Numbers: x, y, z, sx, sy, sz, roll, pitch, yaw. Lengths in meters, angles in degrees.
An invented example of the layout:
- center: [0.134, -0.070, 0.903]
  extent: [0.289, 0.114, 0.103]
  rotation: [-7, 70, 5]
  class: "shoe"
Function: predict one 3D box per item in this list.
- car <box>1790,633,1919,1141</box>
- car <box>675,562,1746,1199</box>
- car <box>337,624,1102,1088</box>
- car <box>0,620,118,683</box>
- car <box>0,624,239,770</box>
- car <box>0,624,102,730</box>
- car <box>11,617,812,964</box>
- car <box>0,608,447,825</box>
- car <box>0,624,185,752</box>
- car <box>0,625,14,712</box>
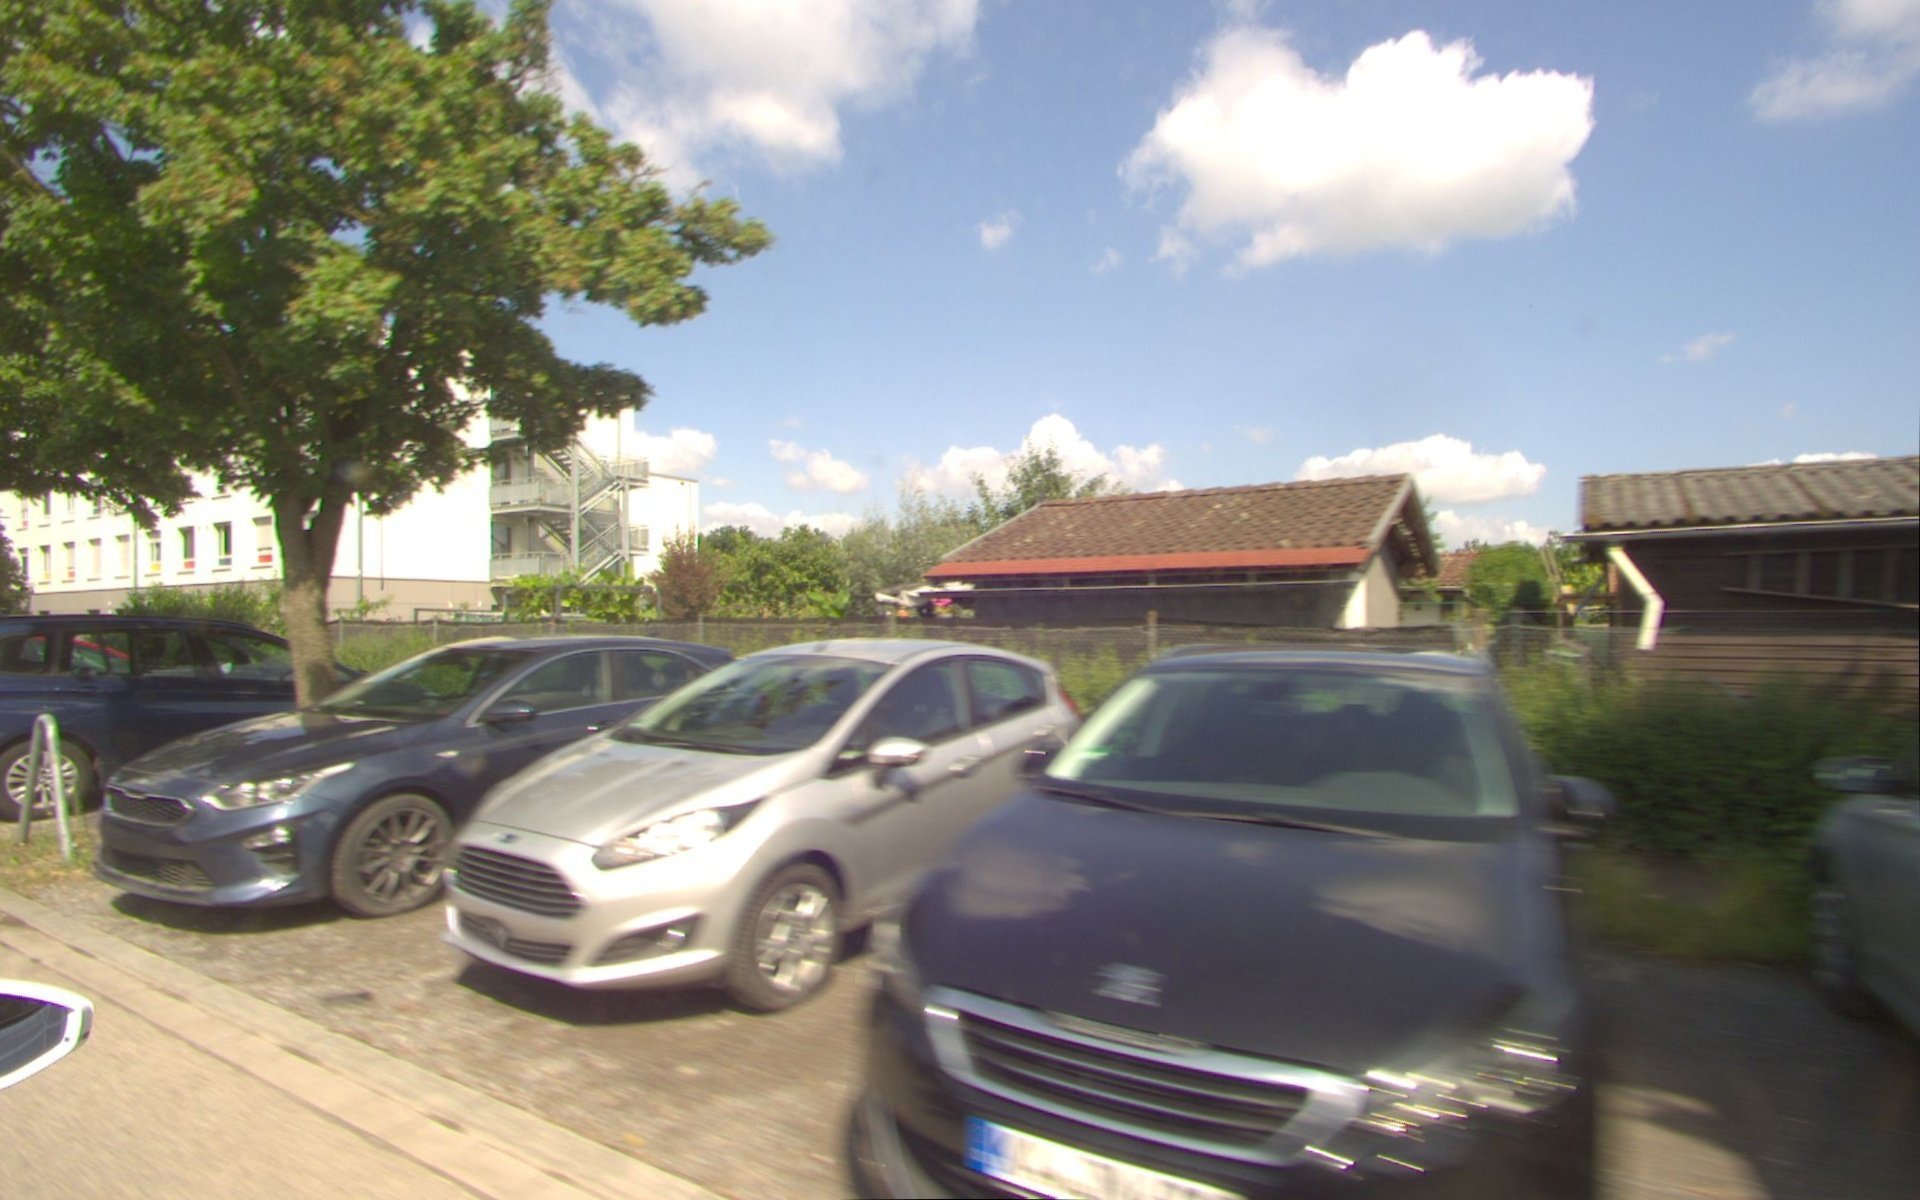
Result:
- center: [3.625, 0.858, 2.426]
  extent: [1.822, 1.559, 3.721]
  rotation: [-1, -3, 29]
  class: "car"
- center: [1.303, 0.873, 3.634]
  extent: [1.971, 1.613, 4.296]
  rotation: [-1, -3, 32]
  class: "car"
- center: [-0.866, 0.940, 5.410]
  extent: [1.875, 1.510, 3.808]
  rotation: [-1, -3, 32]
  class: "car"
- center: [-23.619, 1.282, 24.541]
  extent: [1.734, 1.449, 4.231]
  rotation: [-1, 0, 32]
  class: "car"
- center: [-10.875, 1.071, 11.559]
  extent: [1.737, 1.552, 3.802]
  rotation: [-1, -1, 33]
  class: "car"
- center: [-15.181, 1.128, 14.702]
  extent: [1.642, 1.568, 3.572]
  rotation: [-1, -3, 29]
  class: "car"
- center: [-3.155, 0.945, 6.737]
  extent: [1.947, 1.510, 4.330]
  rotation: [-1, -3, 32]
  class: "car"
- center: [-7.313, 0.923, 9.347]
  extent: [1.853, 1.658, 4.145]
  rotation: [-1, -1, 34]
  class: "car"
- center: [-12.944, 1.099, 12.731]
  extent: [1.782, 1.598, 4.543]
  rotation: [-1, -3, 31]
  class: "car"
- center: [-19.281, 1.188, 17.293]
  extent: [1.840, 1.579, 3.929]
  rotation: [-1, -3, 31]
  class: "car"
